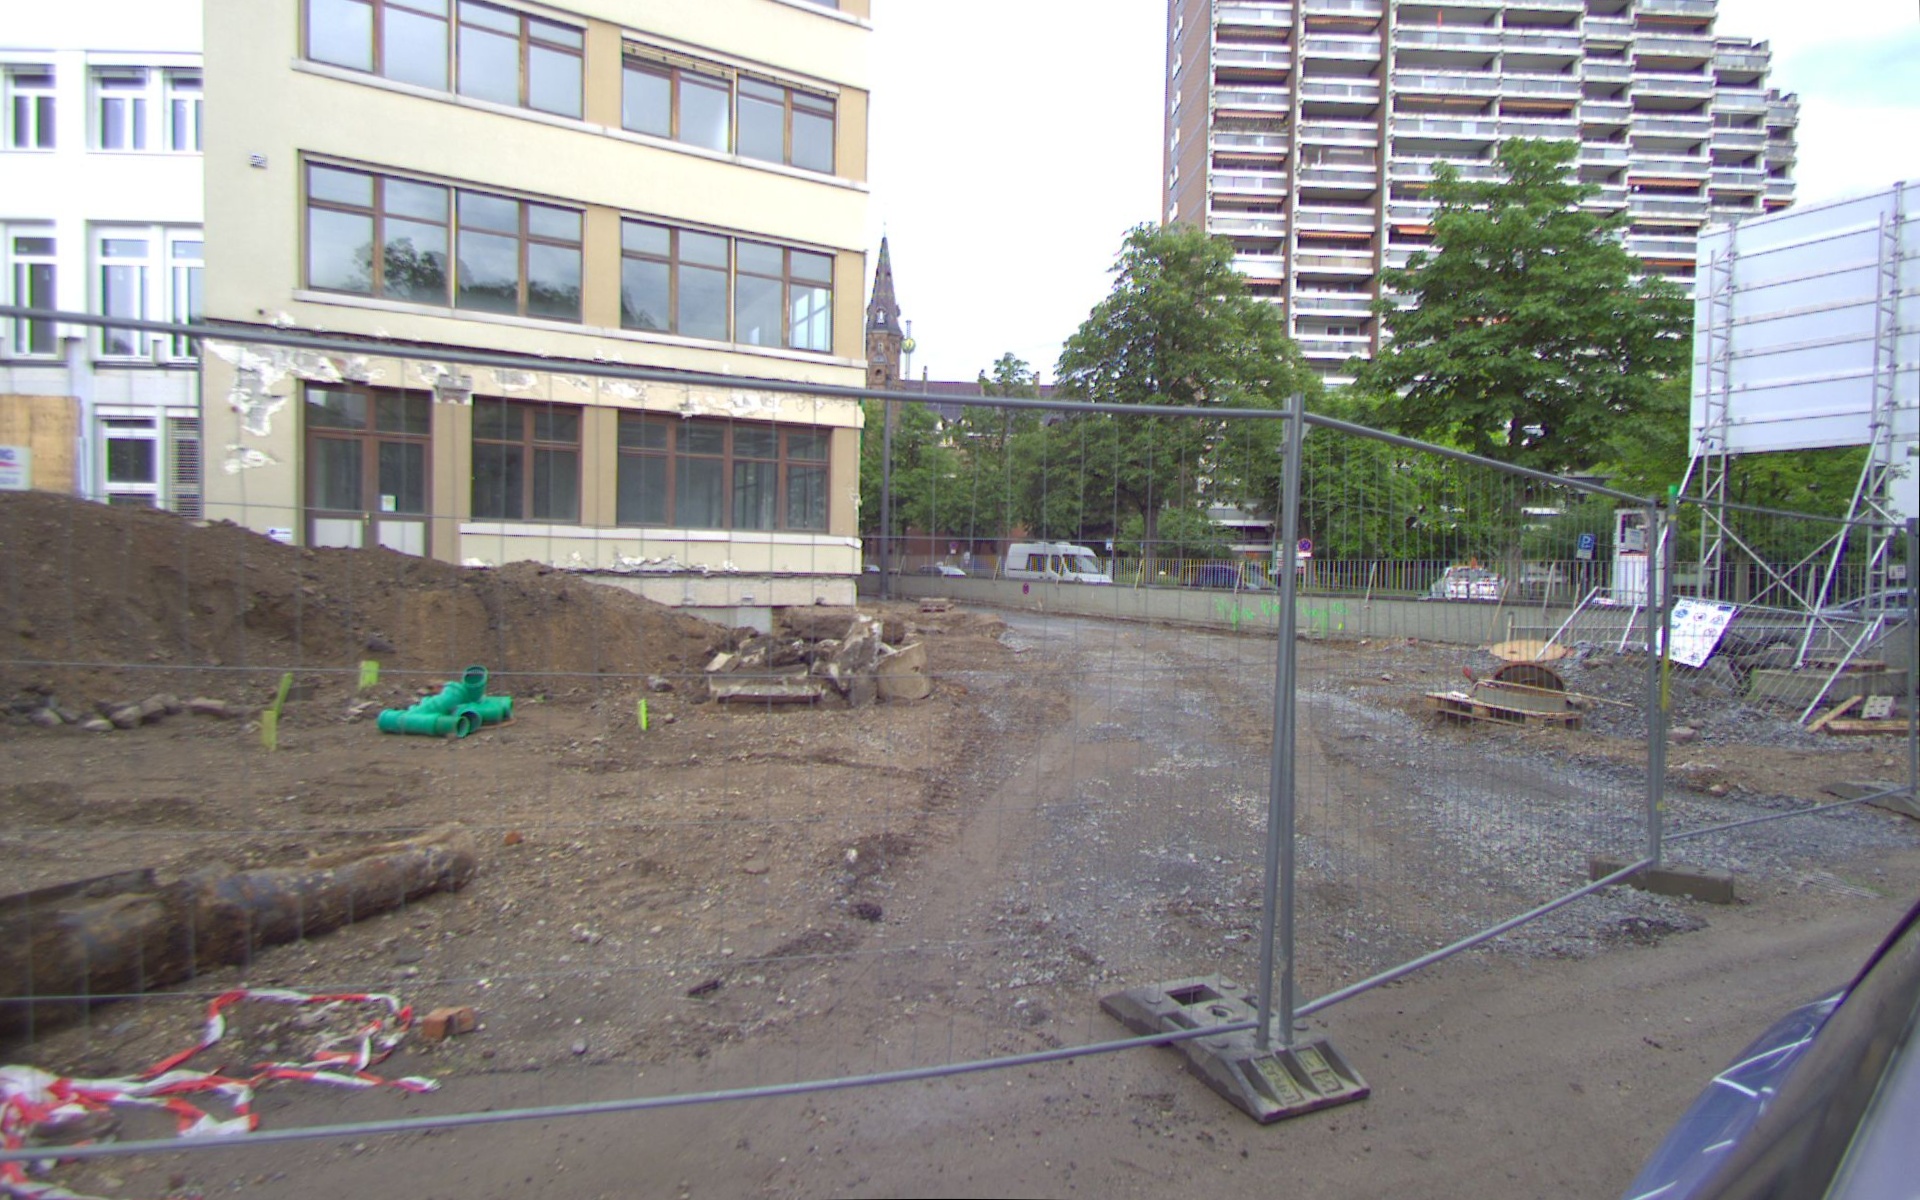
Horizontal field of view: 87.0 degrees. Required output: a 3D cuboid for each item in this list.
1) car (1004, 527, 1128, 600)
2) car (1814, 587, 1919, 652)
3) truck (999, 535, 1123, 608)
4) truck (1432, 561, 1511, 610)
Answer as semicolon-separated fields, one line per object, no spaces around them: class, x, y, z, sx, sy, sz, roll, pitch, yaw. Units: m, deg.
car;4.009;-1.466;39.541;2.076;2.634;5.501;-1;3;-28
car;23.142;0.488;24.035;1.711;1.446;4.006;0;2;-28
truck;3.827;-1.149;39.537;2.076;2.634;5.501;-1;3;-28
truck;20.856;-0.657;41.492;1.973;1.871;5.039;1;3;17
